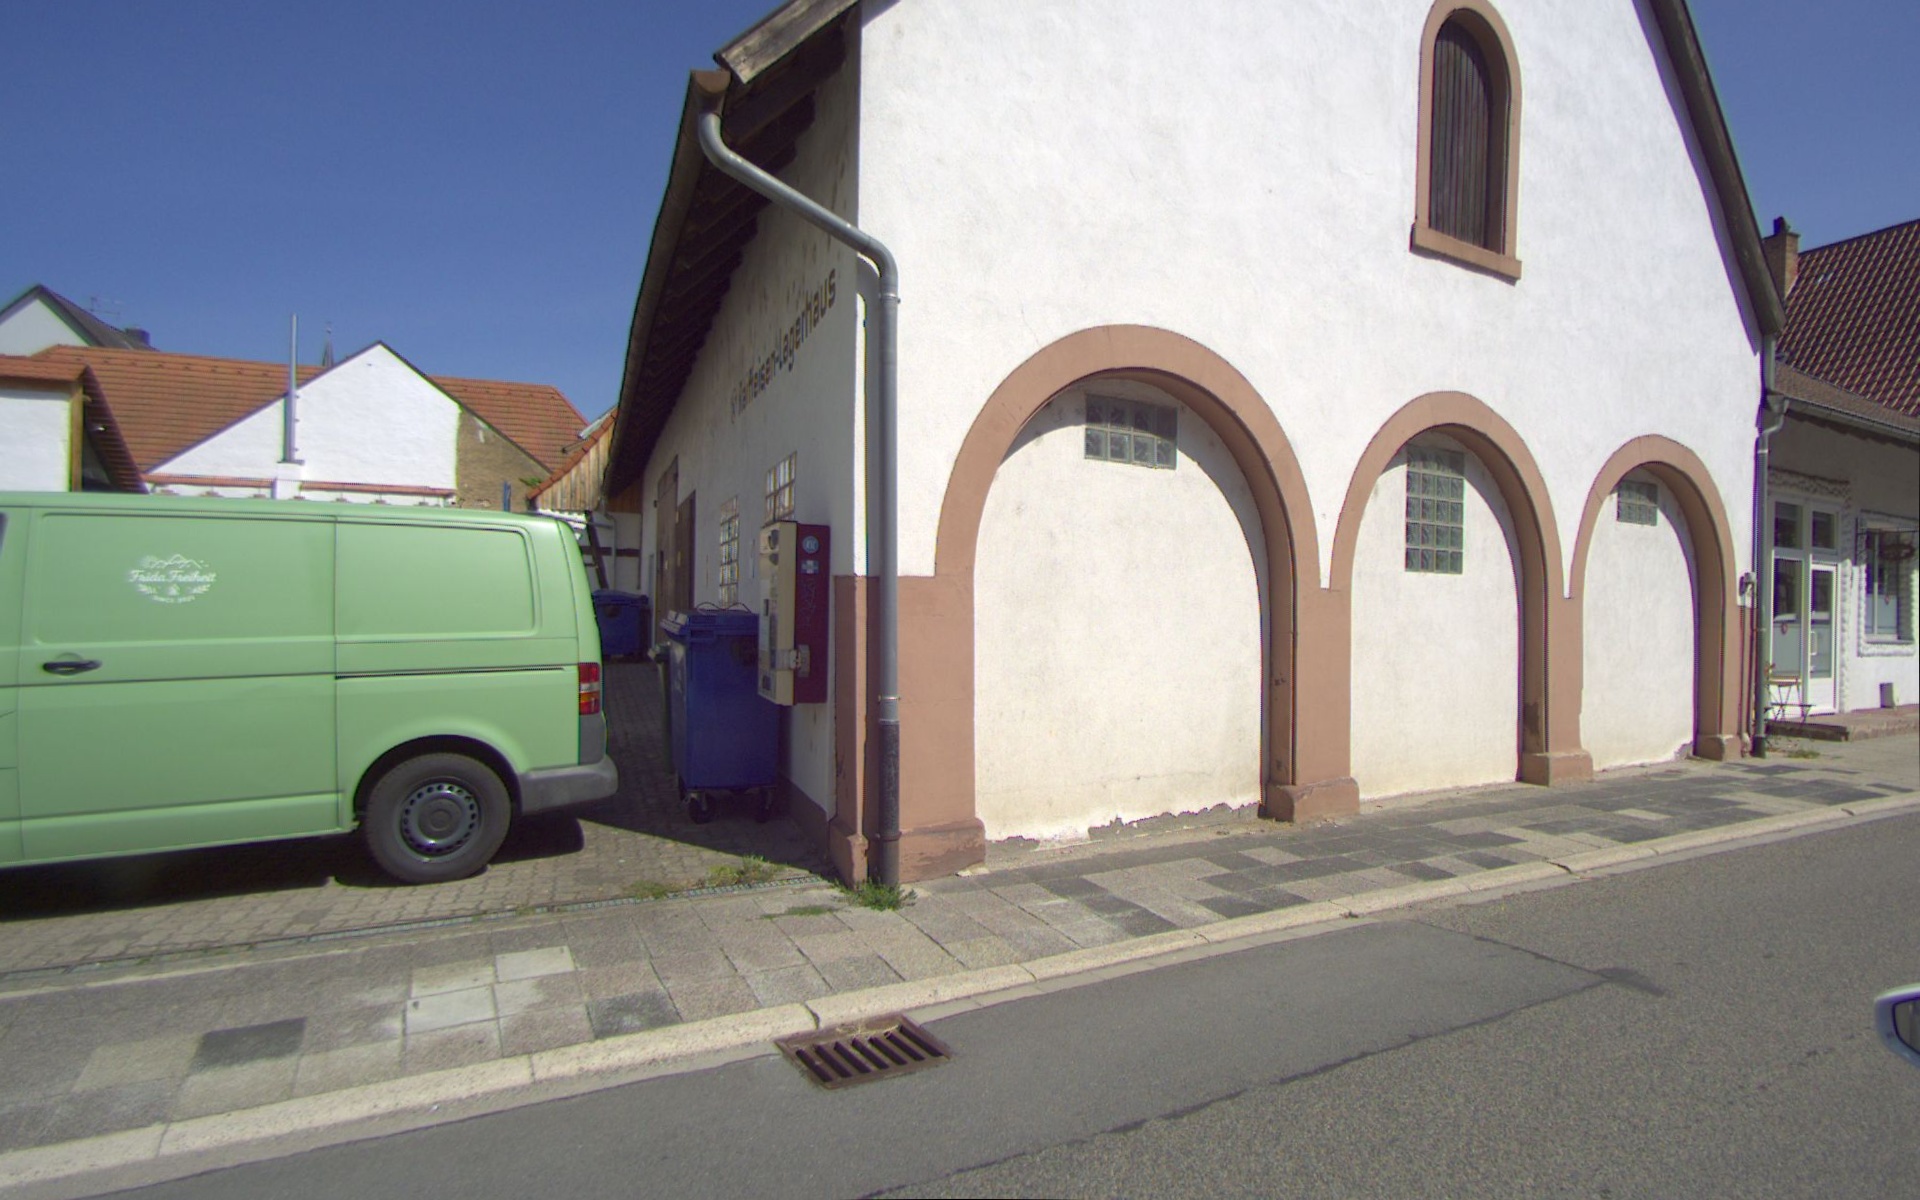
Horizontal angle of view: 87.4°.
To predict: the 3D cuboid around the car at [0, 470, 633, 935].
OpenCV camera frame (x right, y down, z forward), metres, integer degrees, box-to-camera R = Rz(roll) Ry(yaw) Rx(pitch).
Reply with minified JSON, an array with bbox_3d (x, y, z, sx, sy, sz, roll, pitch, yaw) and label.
[{"bbox_3d":[-4.297,0.444,5.318,4.611,1.991,1.985,1,0,-28],"label":"car"}]
